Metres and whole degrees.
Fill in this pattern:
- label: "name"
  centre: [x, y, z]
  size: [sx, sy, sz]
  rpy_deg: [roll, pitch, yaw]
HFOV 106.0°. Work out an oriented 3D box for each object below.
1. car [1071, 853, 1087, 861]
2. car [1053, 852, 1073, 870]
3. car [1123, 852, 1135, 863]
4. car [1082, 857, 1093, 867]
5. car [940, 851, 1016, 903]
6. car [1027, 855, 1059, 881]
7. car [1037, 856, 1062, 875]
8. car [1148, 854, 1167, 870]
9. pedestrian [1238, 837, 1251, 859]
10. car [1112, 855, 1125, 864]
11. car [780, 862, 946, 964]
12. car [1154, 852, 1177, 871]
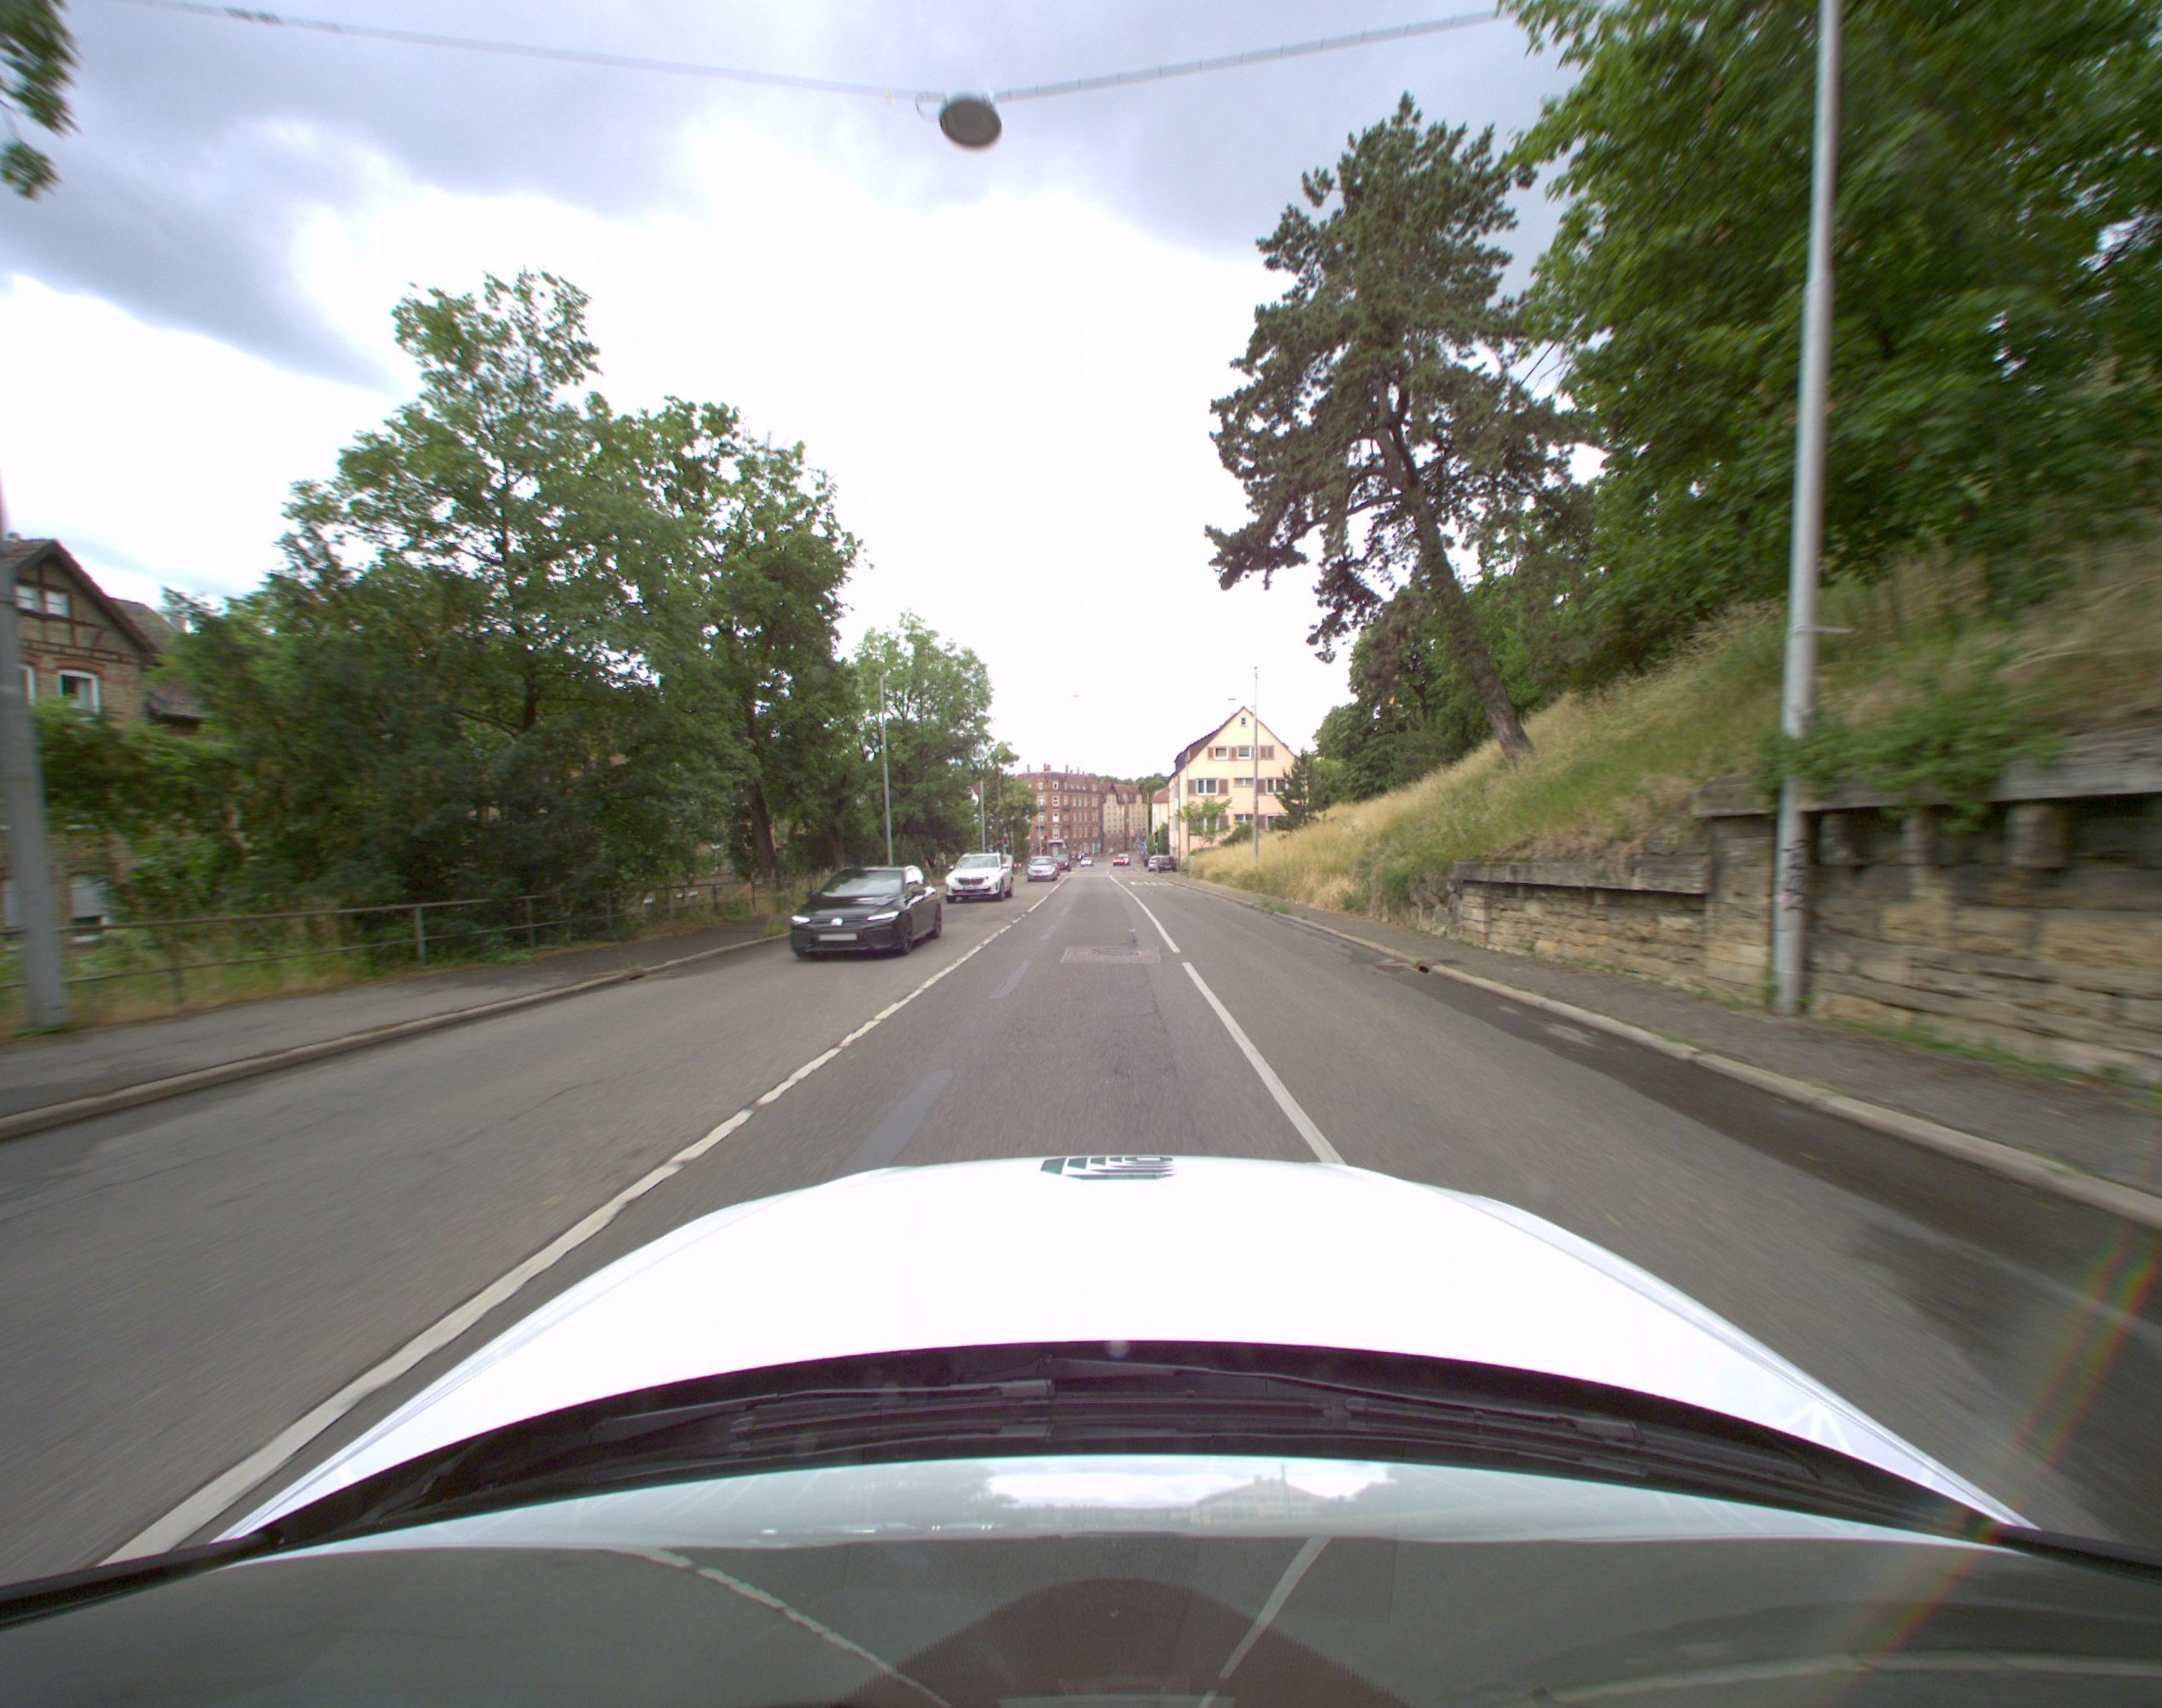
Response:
- label: "car"
  centre: [-0.422, 0.594, 173.173]
  size: [1.966, 1.575, 4.394]
  rpy_deg: [-3, 0, 17]
- label: "car"
  centre: [-1.828, 0.731, 85.257]
  size: [1.777, 1.746, 4.430]
  rpy_deg: [-2, 0, 2]
- label: "car"
  centre: [8.223, 0.641, 138.860]
  size: [1.900, 1.884, 4.007]
  rpy_deg: [0, 0, 6]
- label: "car"
  centre: [1.036, 1.215, 126.986]
  size: [1.714, 1.445, 4.159]
  rpy_deg: [-2, 0, 1]
- label: "car"
  centre: [-3.692, 0.777, 30.045]
  size: [1.988, 1.683, 4.665]
  rpy_deg: [-2, 0, 2]
- label: "car"
  centre: [-2.446, 0.881, 53.374]
  size: [1.777, 1.574, 4.281]
  rpy_deg: [-2, 0, 1]
- label: "car"
  centre: [-2.609, 0.935, 67.505]
  size: [1.777, 1.459, 4.429]
  rpy_deg: [-2, 0, 1]
- label: "car"
  centre: [7.576, 0.765, 80.692]
  size: [1.786, 1.451, 4.725]
  rpy_deg: [-4, 0, 5]
- label: "pedestrian"
  centre: [12.986, -0.463, 64.723]
  size: [0.884, 1.696, 0.872]
  rpy_deg: [1, -1, -2]
- label: "car"
  centre: [6.150, 0.859, 132.231]
  size: [1.807, 1.430, 4.007]
  rpy_deg: [0, 0, 6]
- label: "car"
  centre: [-3.596, 0.902, 14.220]
  size: [1.707, 1.427, 4.139]
  rpy_deg: [-2, 0, 1]
- label: "car"
  centre: [7.431, 0.666, 71.764]
  size: [1.675, 1.451, 4.001]
  rpy_deg: [-4, -1, 1]
